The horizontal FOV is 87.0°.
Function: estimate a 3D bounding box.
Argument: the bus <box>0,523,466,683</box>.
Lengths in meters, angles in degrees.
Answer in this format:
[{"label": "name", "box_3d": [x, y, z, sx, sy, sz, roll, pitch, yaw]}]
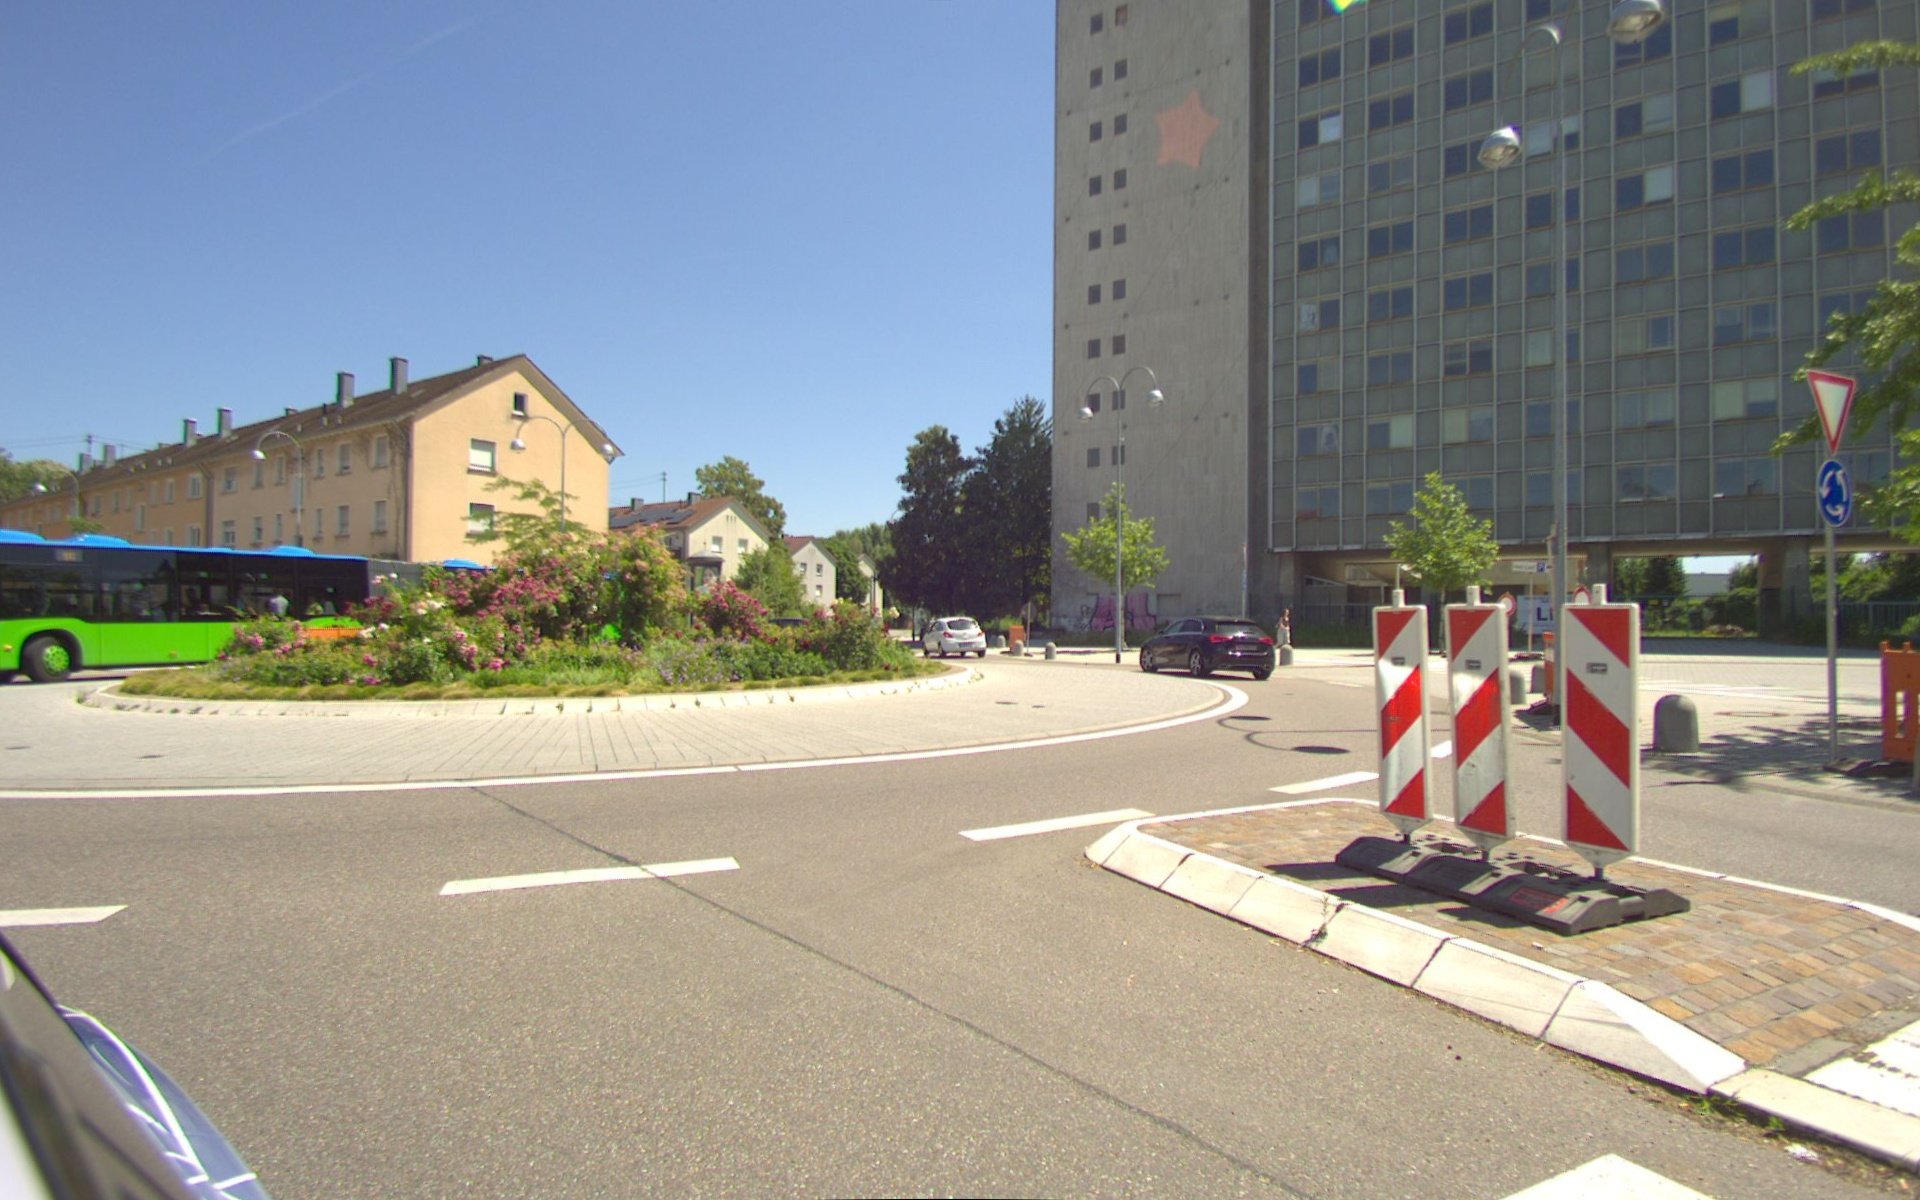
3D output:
[{"label": "bus", "box_3d": [-18.182, 0.116, 23.966, 2.898, 3.104, 12.447, -2, -1, 27]}]

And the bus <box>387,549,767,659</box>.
[{"label": "bus", "box_3d": [-12.162, 0.150, 34.160, 2.925, 3.085, 12.407, -2, -1, 36]}]

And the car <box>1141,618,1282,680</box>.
[{"label": "car", "box_3d": [5.794, 1.100, 23.792, 1.703, 1.305, 4.008, 2, -1, -10]}]

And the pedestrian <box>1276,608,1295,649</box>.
[{"label": "pedestrian", "box_3d": [11.726, 1.026, 36.423, 0.562, 1.440, 0.425, 0, -1, 30]}]

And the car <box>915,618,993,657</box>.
[{"label": "car", "box_3d": [-0.289, 1.382, 37.869, 1.754, 1.366, 4.066, 1, -2, -18]}]
